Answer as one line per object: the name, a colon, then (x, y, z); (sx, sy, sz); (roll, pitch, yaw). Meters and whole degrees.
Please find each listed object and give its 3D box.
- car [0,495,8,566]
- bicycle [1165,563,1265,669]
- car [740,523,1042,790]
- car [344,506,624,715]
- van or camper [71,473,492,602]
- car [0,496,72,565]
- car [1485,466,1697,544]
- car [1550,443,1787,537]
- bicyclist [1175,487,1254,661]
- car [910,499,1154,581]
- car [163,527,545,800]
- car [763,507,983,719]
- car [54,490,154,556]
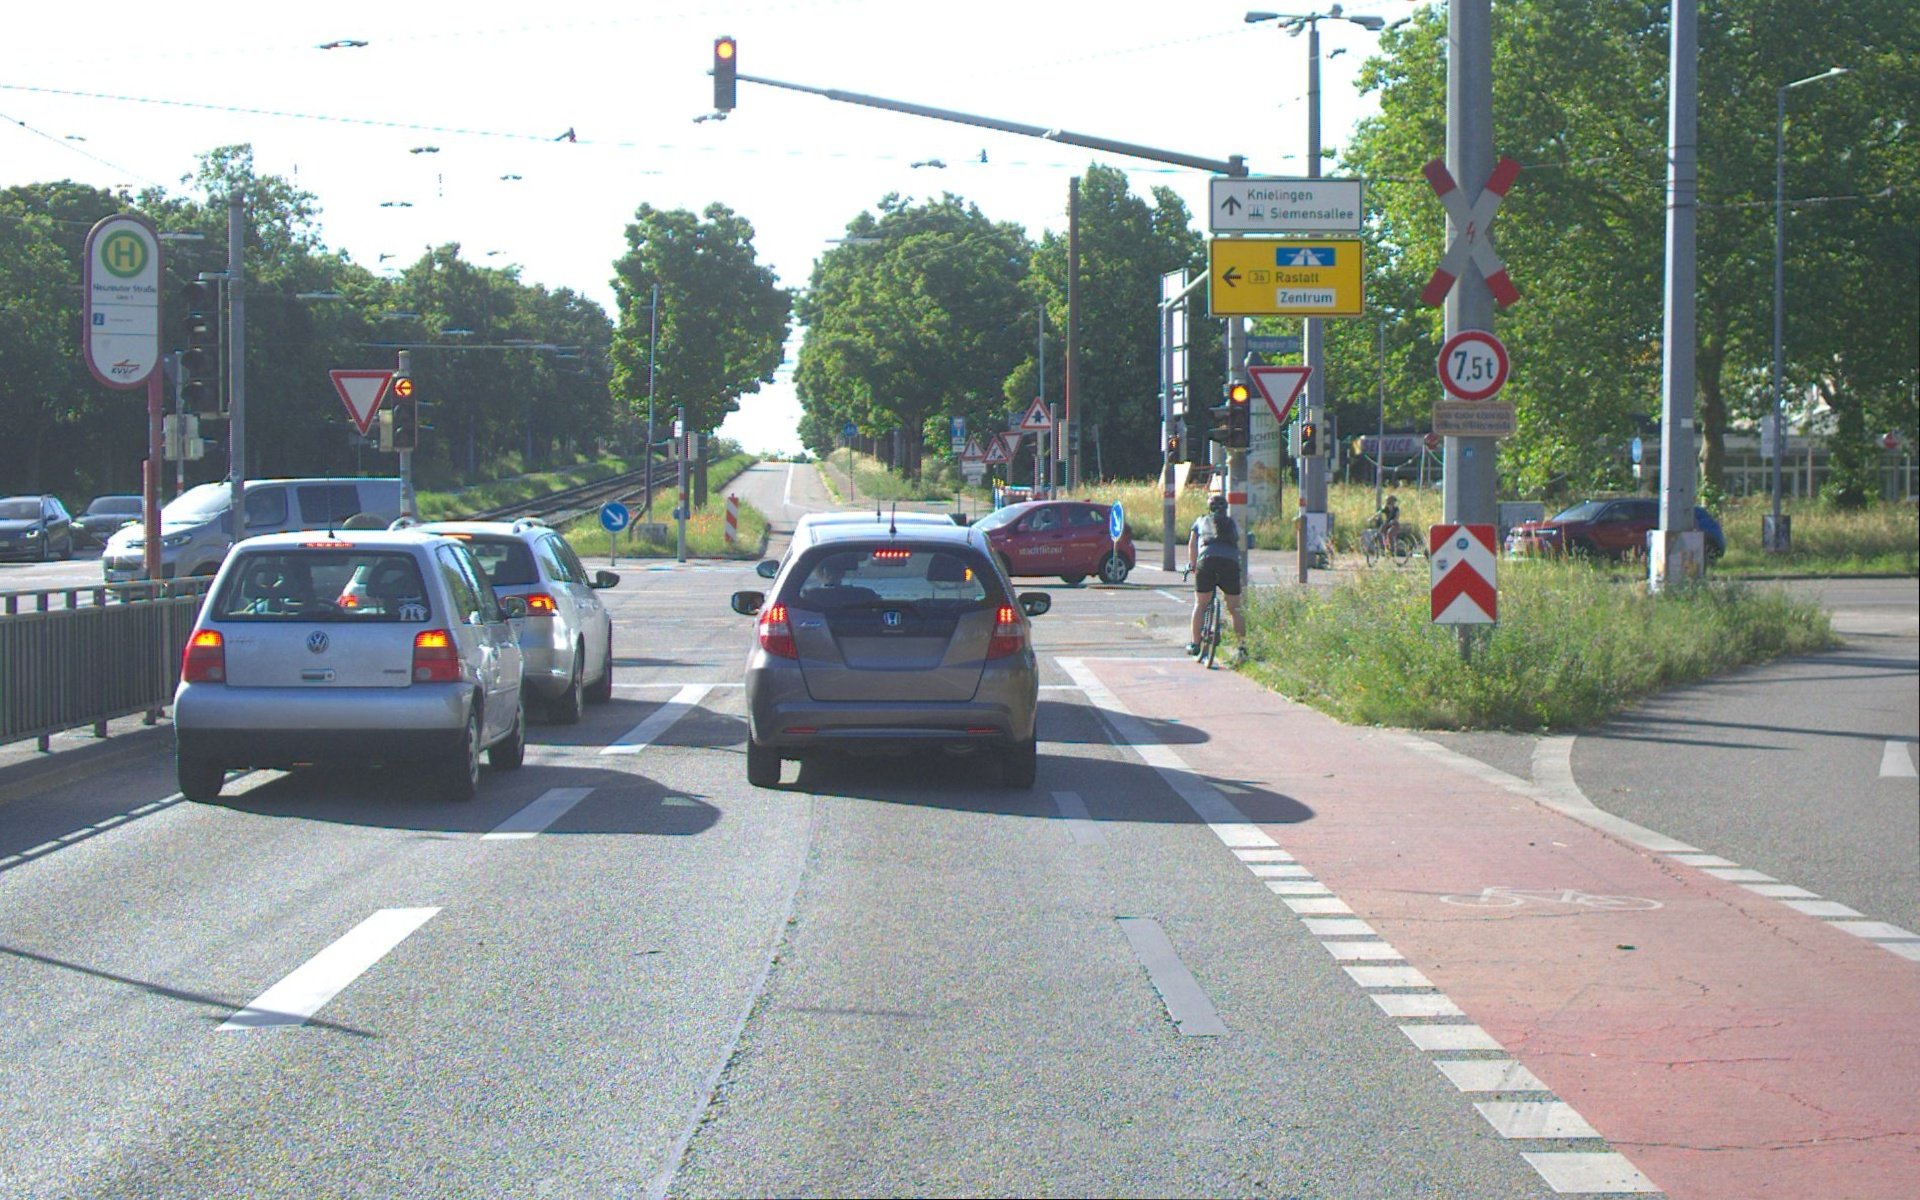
car: (-21.648, -1.477, 73.670); (1.832, 1.543, 4.001); (0, 1, -7)
bicycle: (2.549, 0.136, 34.708); (0.722, 0.985, 2.876); (1, 1, -1)
car: (-0.460, 0.275, 20.839); (1.668, 1.457, 3.587); (0, 1, -3)
car: (-3.561, 0.039, 26.330); (1.619, 1.452, 4.085); (1, 1, -1)
van or camper: (-10.026, -0.961, 51.210); (5.971, 1.822, 1.999); (-1, 2, -42)
car: (-21.774, -1.614, 79.541); (1.832, 1.543, 4.286); (0, 1, -7)
car: (12.720, -1.927, 69.312); (3.986, 1.525, 1.606); (-1, 2, -23)
car: (15.411, -2.376, 74.807); (4.686, 1.873, 2.001); (1, 1, -23)
bicyclist: (2.562, -0.267, 34.620); (0.666, 1.710, 0.948); (1, 1, -1)
car: (1.278, -1.066, 60.276); (4.003, 1.398, 1.610); (-1, 2, -28)
car: (-3.364, 0.302, 19.624); (1.619, 1.413, 3.351); (0, 1, -1)
car: (-0.672, 0.043, 27.474); (1.611, 1.557, 4.288); (0, 1, -1)
car: (-22.137, -2.011, 89.050); (1.993, 1.599, 4.757); (1, 2, -8)
